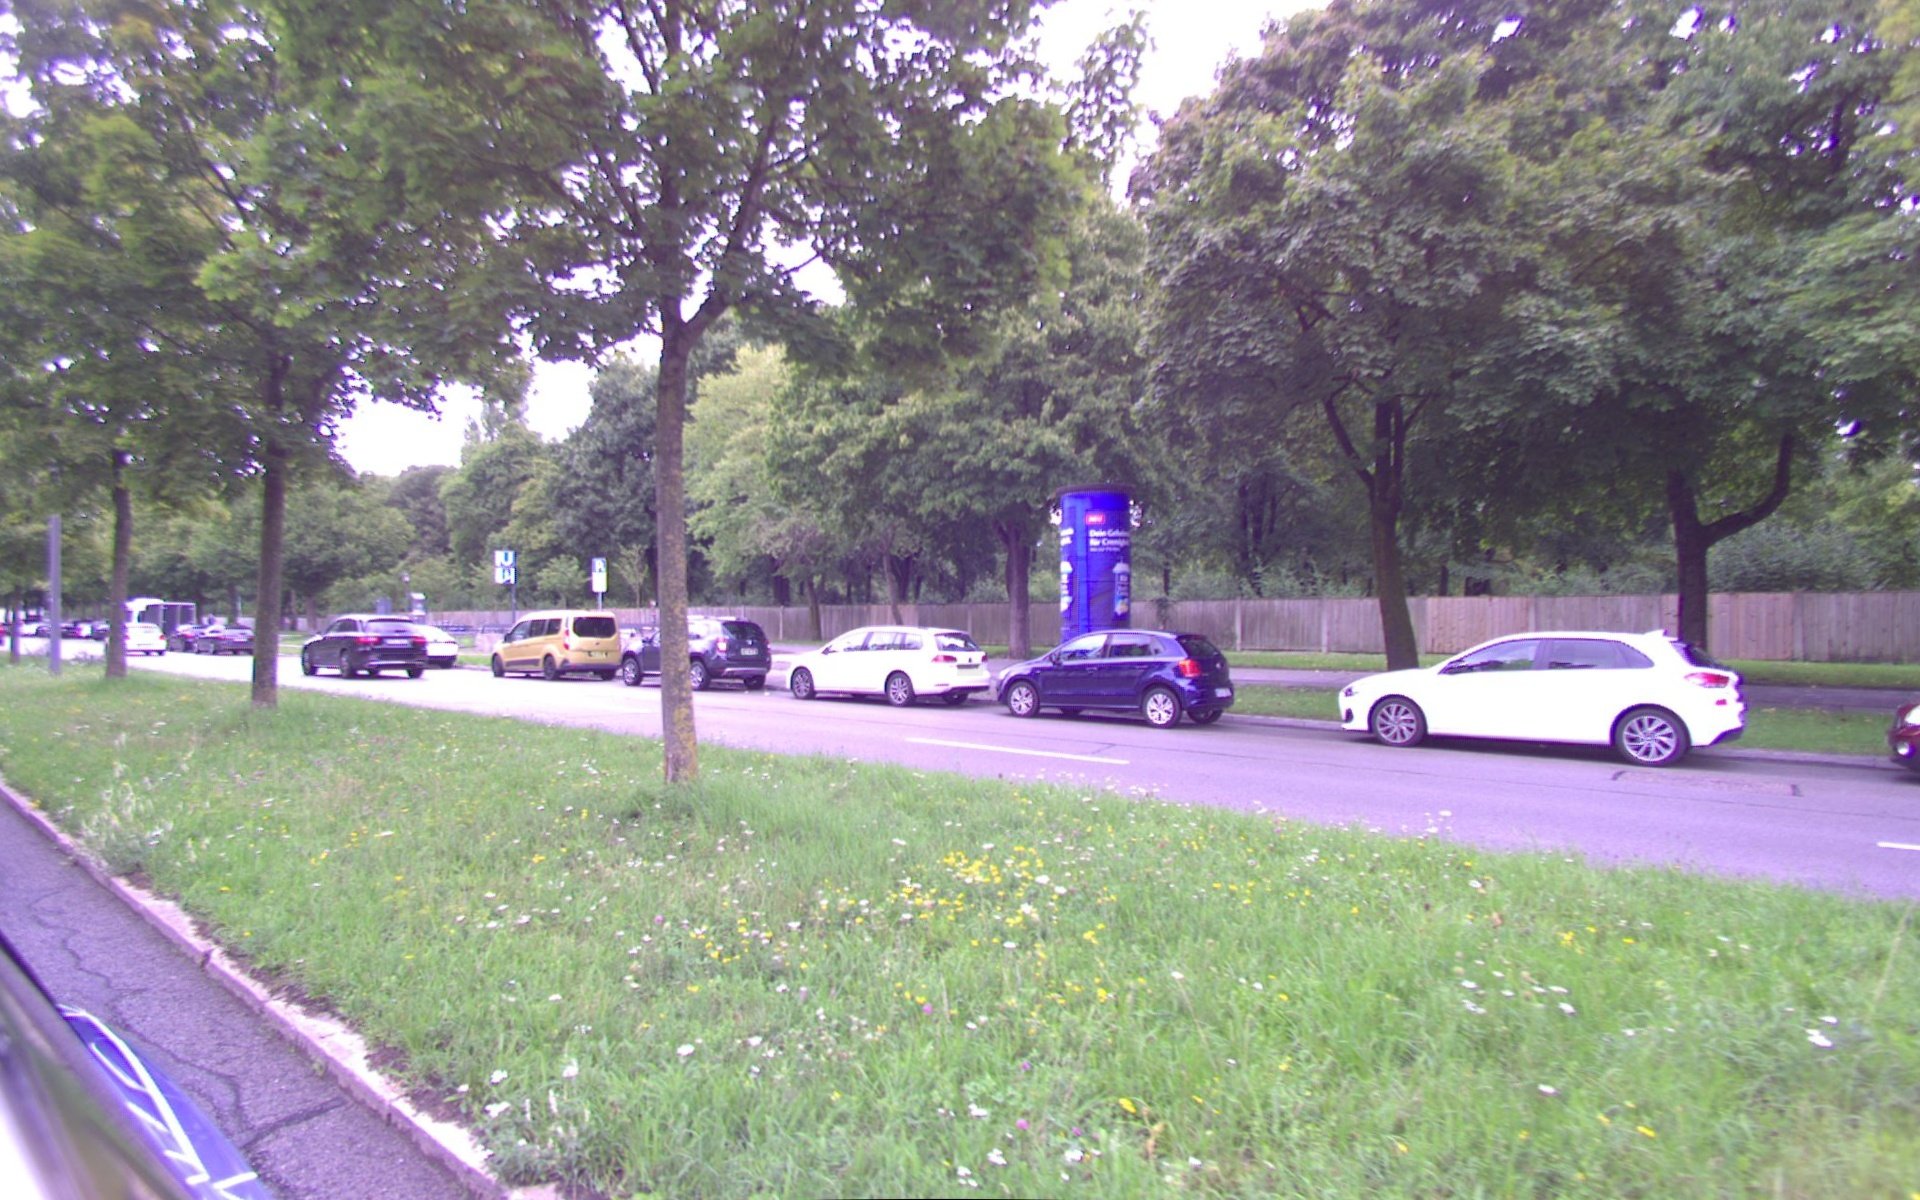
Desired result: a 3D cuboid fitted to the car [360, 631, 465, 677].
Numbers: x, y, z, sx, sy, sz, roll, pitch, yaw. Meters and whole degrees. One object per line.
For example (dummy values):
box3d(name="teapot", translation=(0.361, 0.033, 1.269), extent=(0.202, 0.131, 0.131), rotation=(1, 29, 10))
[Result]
box3d(name="car", translation=(-18.680, 1.795, 34.463), extent=(4.036, 1.454, 1.696), rotation=(-1, -3, 38))

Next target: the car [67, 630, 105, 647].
box3d(name="car", translation=(-74.881, 3.299, 86.692), extent=(4.036, 1.420, 1.696), rotation=(-1, -3, 38))

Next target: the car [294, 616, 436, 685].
box3d(name="car", translation=(-15.848, 1.302, 26.875), extent=(4.497, 1.682, 1.842), rotation=(-1, -3, 40))

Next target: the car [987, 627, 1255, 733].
box3d(name="car", translation=(2.475, 1.182, 15.918), extent=(3.783, 1.457, 1.804), rotation=(-1, -4, 38))

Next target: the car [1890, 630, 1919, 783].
box3d(name="car", translation=(10.802, 1.006, 8.970), extent=(3.685, 1.433, 1.632), rotation=(-1, -4, 41))

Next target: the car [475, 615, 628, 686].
box3d(name="car", translation=(-11.140, 1.334, 27.464), extent=(4.528, 1.784, 1.839), rotation=(-1, -3, 38))

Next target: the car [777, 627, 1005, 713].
box3d(name="car", translation=(-1.398, 1.270, 19.465), extent=(4.295, 1.481, 1.804), rotation=(-1, -3, 38))

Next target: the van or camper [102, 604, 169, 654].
box3d(name="van or camper", translation=(-48.419, 1.685, 59.404), extent=(4.926, 2.829, 1.974), rotation=(-1, -3, 38))

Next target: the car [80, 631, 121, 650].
box3d(name="car", translation=(-67.466, 3.185, 79.421), extent=(4.036, 1.420, 1.696), rotation=(-1, -3, 38))

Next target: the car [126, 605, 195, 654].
box3d(name="car", translation=(-44.425, 1.662, 56.212), extent=(4.494, 2.611, 1.974), rotation=(-1, -3, 38))

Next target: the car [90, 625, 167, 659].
box3d(name="car", translation=(-37.132, 1.863, 45.174), extent=(4.497, 1.467, 1.842), rotation=(-1, -3, 40))

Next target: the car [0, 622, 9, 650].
box3d(name="car", translation=(-59.652, 2.153, 61.704), extent=(4.497, 1.671, 1.842), rotation=(-1, -3, 40))

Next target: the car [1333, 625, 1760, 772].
box3d(name="car", translation=(7.000, 1.080, 12.364), extent=(4.258, 1.488, 1.802), rotation=(-1, -4, 41))

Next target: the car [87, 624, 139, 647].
box3d(name="car", translation=(-52.524, 2.186, 62.738), extent=(4.036, 1.420, 1.696), rotation=(-1, -3, 38))

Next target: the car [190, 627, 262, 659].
box3d(name="car", translation=(-34.962, 2.029, 48.172), extent=(4.036, 1.420, 1.696), rotation=(-1, -3, 38))

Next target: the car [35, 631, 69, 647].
box3d(name="car", translation=(-84.131, 3.580, 93.745), extent=(4.036, 1.420, 1.696), rotation=(-1, -3, 38))

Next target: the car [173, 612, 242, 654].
box3d(name="car", translation=(-38.312, 1.637, 51.478), extent=(3.997, 2.029, 1.973), rotation=(-1, -1, 40))

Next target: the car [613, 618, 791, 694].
box3d(name="car", translation=(-6.081, 1.264, 23.705), extent=(4.036, 1.628, 1.982), rotation=(-1, -3, 38))
